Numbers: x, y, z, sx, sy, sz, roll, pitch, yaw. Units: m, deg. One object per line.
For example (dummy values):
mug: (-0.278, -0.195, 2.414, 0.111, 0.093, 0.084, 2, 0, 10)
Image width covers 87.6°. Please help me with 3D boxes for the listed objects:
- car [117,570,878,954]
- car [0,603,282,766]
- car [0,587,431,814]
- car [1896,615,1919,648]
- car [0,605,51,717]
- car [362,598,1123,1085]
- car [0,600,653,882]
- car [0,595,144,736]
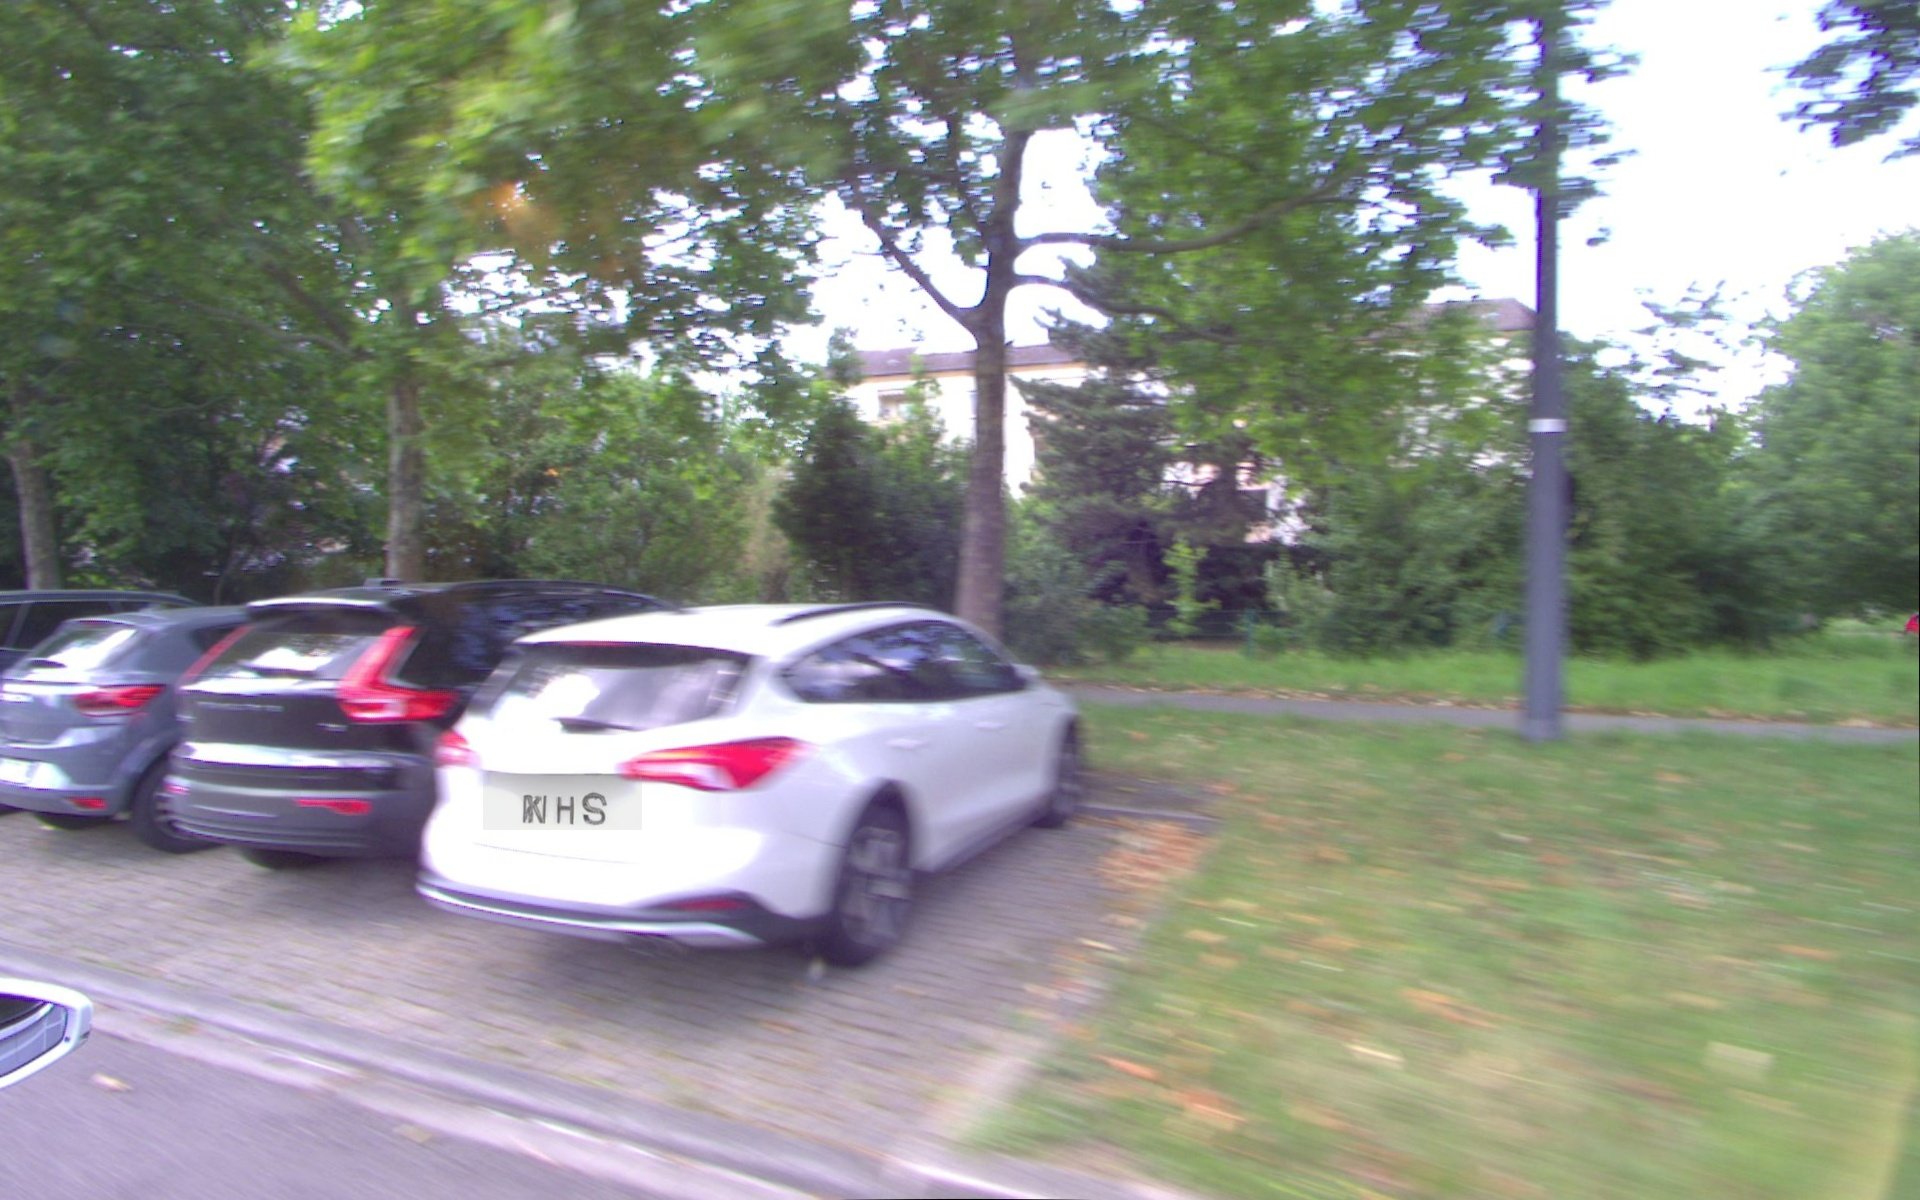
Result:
car: (-2.454, 0.674, 6.783, 1.817, 1.648, 4.659, 0, 1, 23)
car: (-9.591, 0.807, 10.323, 1.728, 1.514, 3.963, 0, 1, 26)
car: (-7.220, 0.727, 8.739, 1.729, 1.661, 4.375, 0, 1, 29)
car: (46.151, 1.484, 46.182, 1.961, 1.533, 4.686, -1, 0, 7)
car: (-14.467, 0.856, 12.710, 1.728, 1.514, 3.963, 0, 0, 26)
car: (-0.544, 0.751, 5.630, 1.817, 1.493, 4.659, 0, 1, 23)
car: (-4.684, 0.786, 7.890, 1.729, 1.521, 4.375, 0, 1, 29)
car: (-12.049, 0.762, 11.410, 1.724, 1.627, 3.972, 0, 1, 17)
